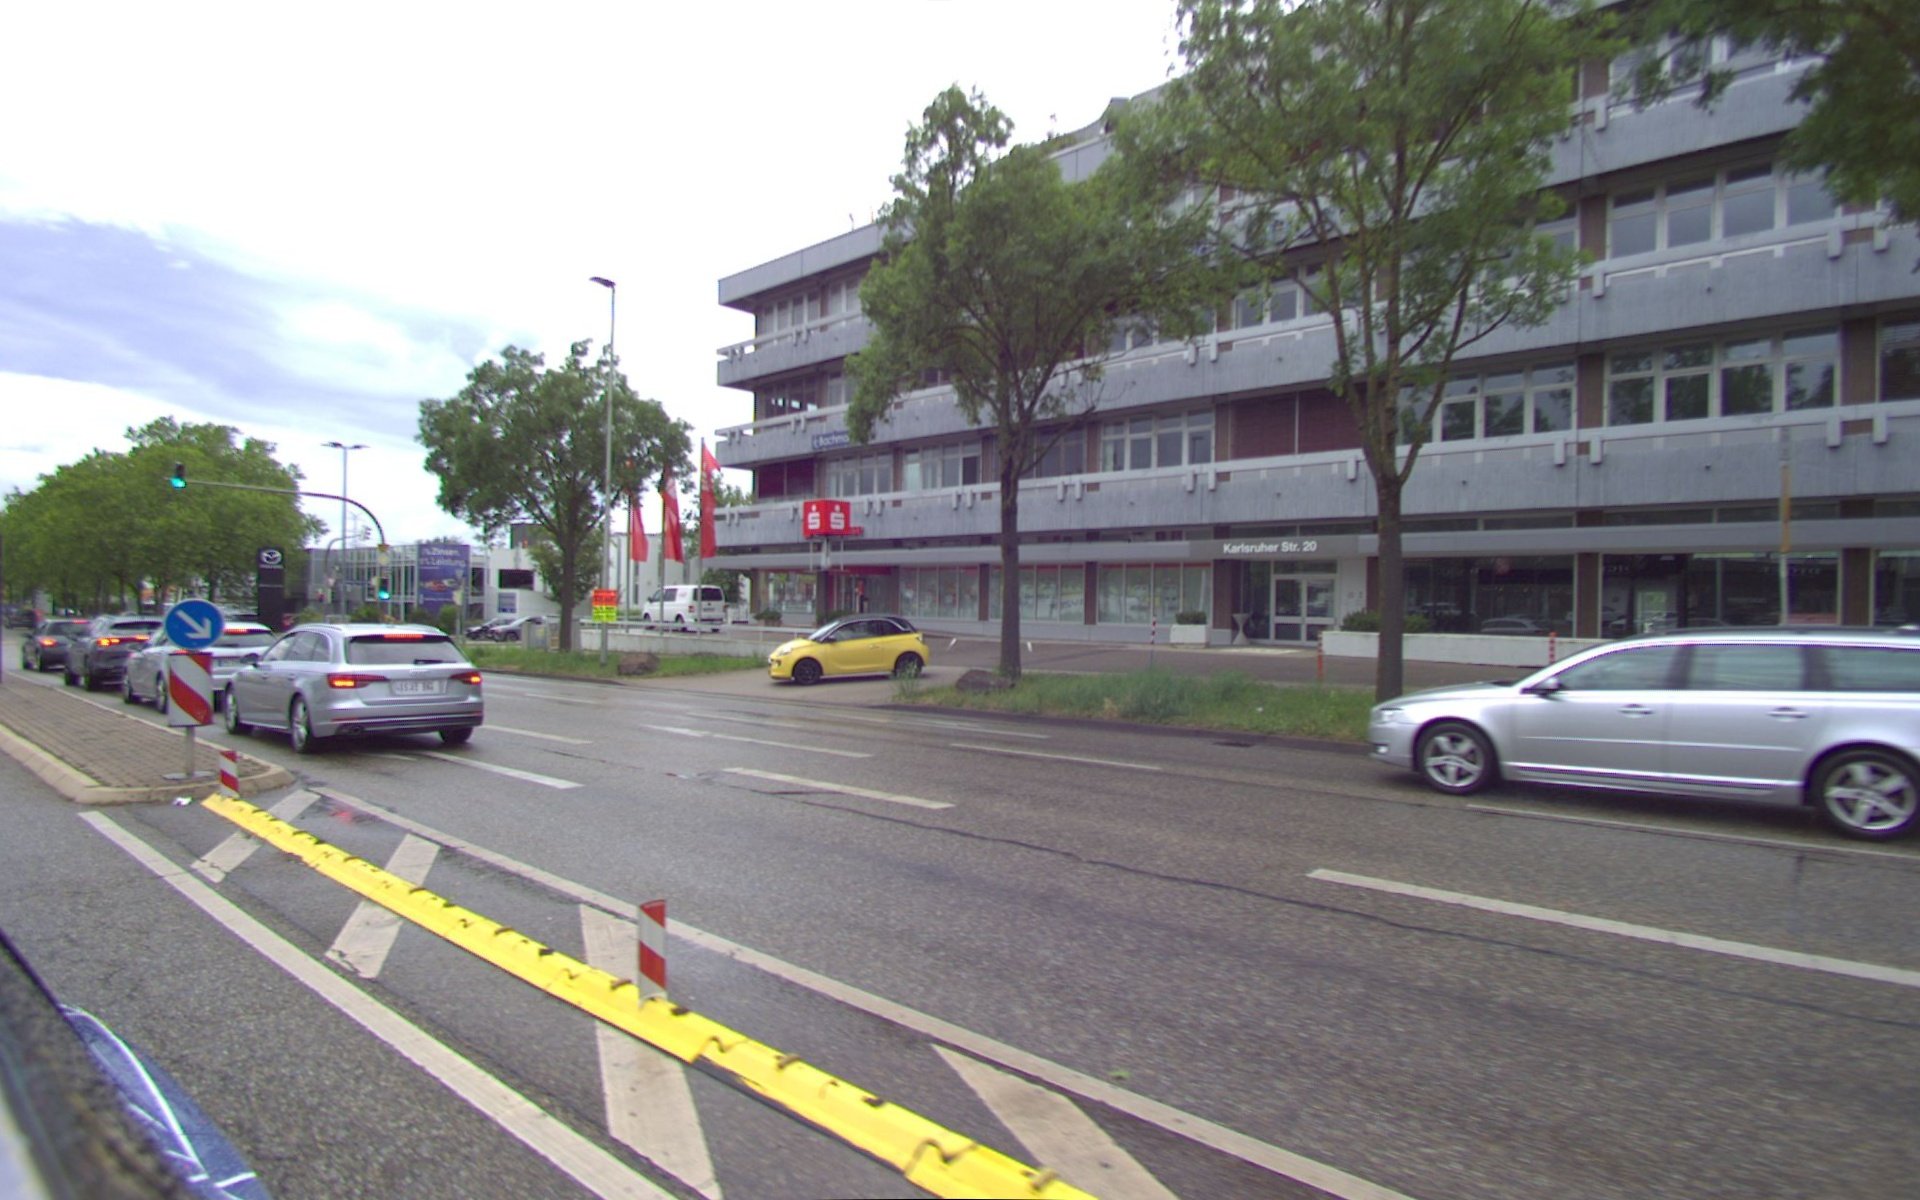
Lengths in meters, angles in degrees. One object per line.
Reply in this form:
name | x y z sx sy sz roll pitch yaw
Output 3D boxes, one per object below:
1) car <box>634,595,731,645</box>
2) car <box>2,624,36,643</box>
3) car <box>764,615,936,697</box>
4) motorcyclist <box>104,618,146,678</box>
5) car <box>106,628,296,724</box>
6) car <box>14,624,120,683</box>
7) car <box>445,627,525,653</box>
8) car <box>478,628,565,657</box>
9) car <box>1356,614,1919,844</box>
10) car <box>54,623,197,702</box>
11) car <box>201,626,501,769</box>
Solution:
car | -12.188 0.834 44.257 1.970 2.029 4.890 -2 1 -43
car | -80.231 2.853 86.249 3.998 1.587 1.731 -2 -3 42
car | -2.527 1.221 22.961 3.650 1.520 1.626 -2 2 -12
motorcyclist | -21.669 1.241 26.265 0.727 1.539 0.684 -2 -3 41
car | -12.779 1.190 16.959 3.998 1.417 1.722 -1 -3 41
car | -25.085 1.459 28.399 3.998 1.522 1.731 -2 -3 42
car | -31.678 2.642 67.606 4.456 1.670 1.956 2 -3 -44
car | -26.666 2.579 61.569 4.456 1.670 1.956 2 -3 -44
car | 6.051 0.940 8.526 4.781 1.565 1.722 -1 -3 43
car | -17.797 1.272 21.532 3.998 1.536 1.731 -2 -3 42
car | -7.487 1.038 12.247 4.614 1.417 1.765 -1 -3 41
